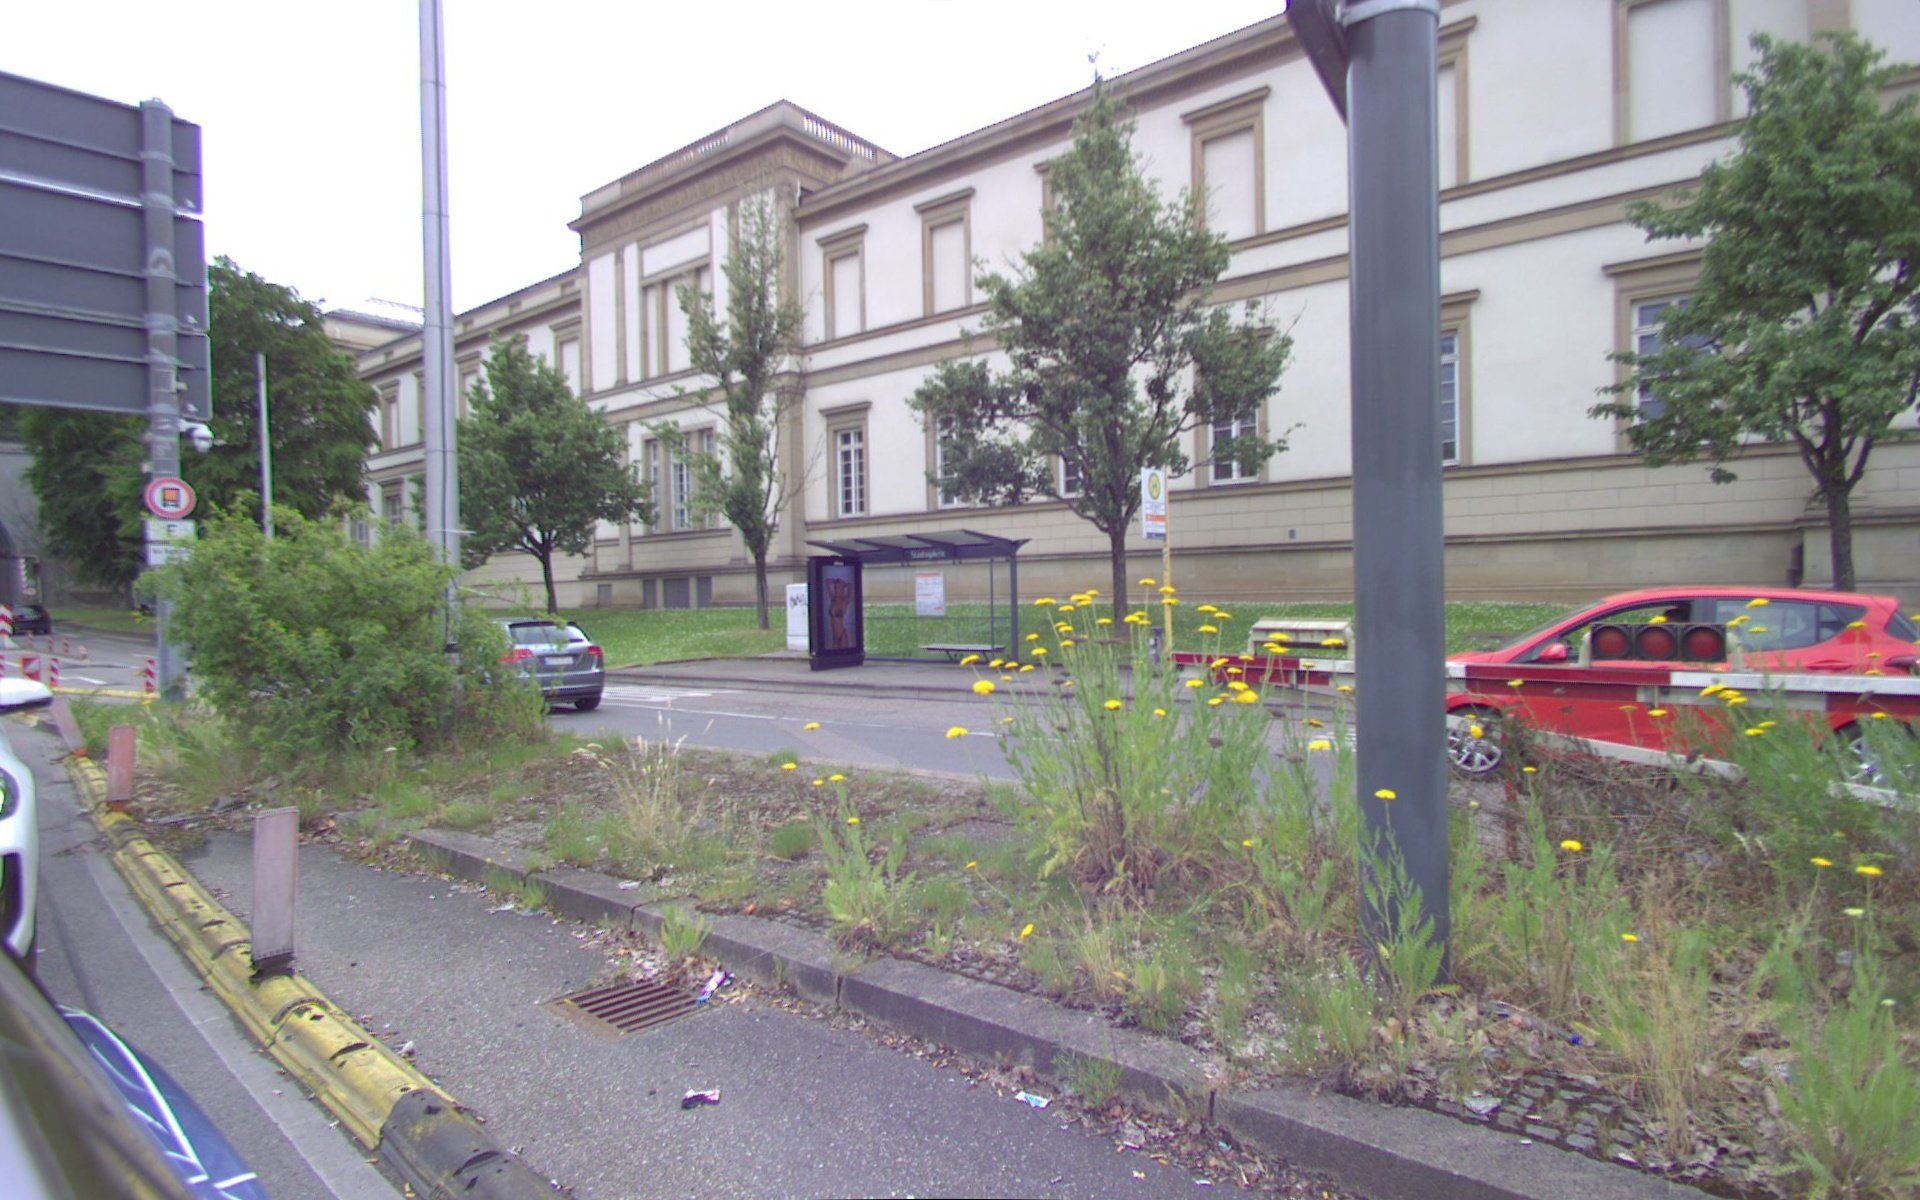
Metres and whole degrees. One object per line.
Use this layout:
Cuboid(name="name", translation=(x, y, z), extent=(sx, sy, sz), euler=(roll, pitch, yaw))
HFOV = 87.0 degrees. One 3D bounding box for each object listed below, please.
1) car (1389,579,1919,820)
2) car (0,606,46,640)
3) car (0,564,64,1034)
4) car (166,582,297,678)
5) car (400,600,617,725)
Cuboid(name="car", translation=(5.321, 0.619, 7.782), extent=(3.560, 1.488, 1.631), euler=(0, 2, 30))
Cuboid(name="car", translation=(-49.719, 1.199, 53.455), extent=(4.001, 1.736, 1.920), euler=(-1, 0, 44))
Cuboid(name="car", translation=(-5.252, 0.717, 4.116), extent=(3.669, 1.637, 1.962), euler=(-1, 0, 41))
Cuboid(name="car", translation=(-21.131, 0.847, 29.294), extent=(4.758, 2.527, 2.174), euler=(-2, -1, 43))
Cuboid(name="car", translation=(-6.912, 0.837, 15.317), extent=(3.805, 1.630, 1.754), euler=(-1, 0, 45))
